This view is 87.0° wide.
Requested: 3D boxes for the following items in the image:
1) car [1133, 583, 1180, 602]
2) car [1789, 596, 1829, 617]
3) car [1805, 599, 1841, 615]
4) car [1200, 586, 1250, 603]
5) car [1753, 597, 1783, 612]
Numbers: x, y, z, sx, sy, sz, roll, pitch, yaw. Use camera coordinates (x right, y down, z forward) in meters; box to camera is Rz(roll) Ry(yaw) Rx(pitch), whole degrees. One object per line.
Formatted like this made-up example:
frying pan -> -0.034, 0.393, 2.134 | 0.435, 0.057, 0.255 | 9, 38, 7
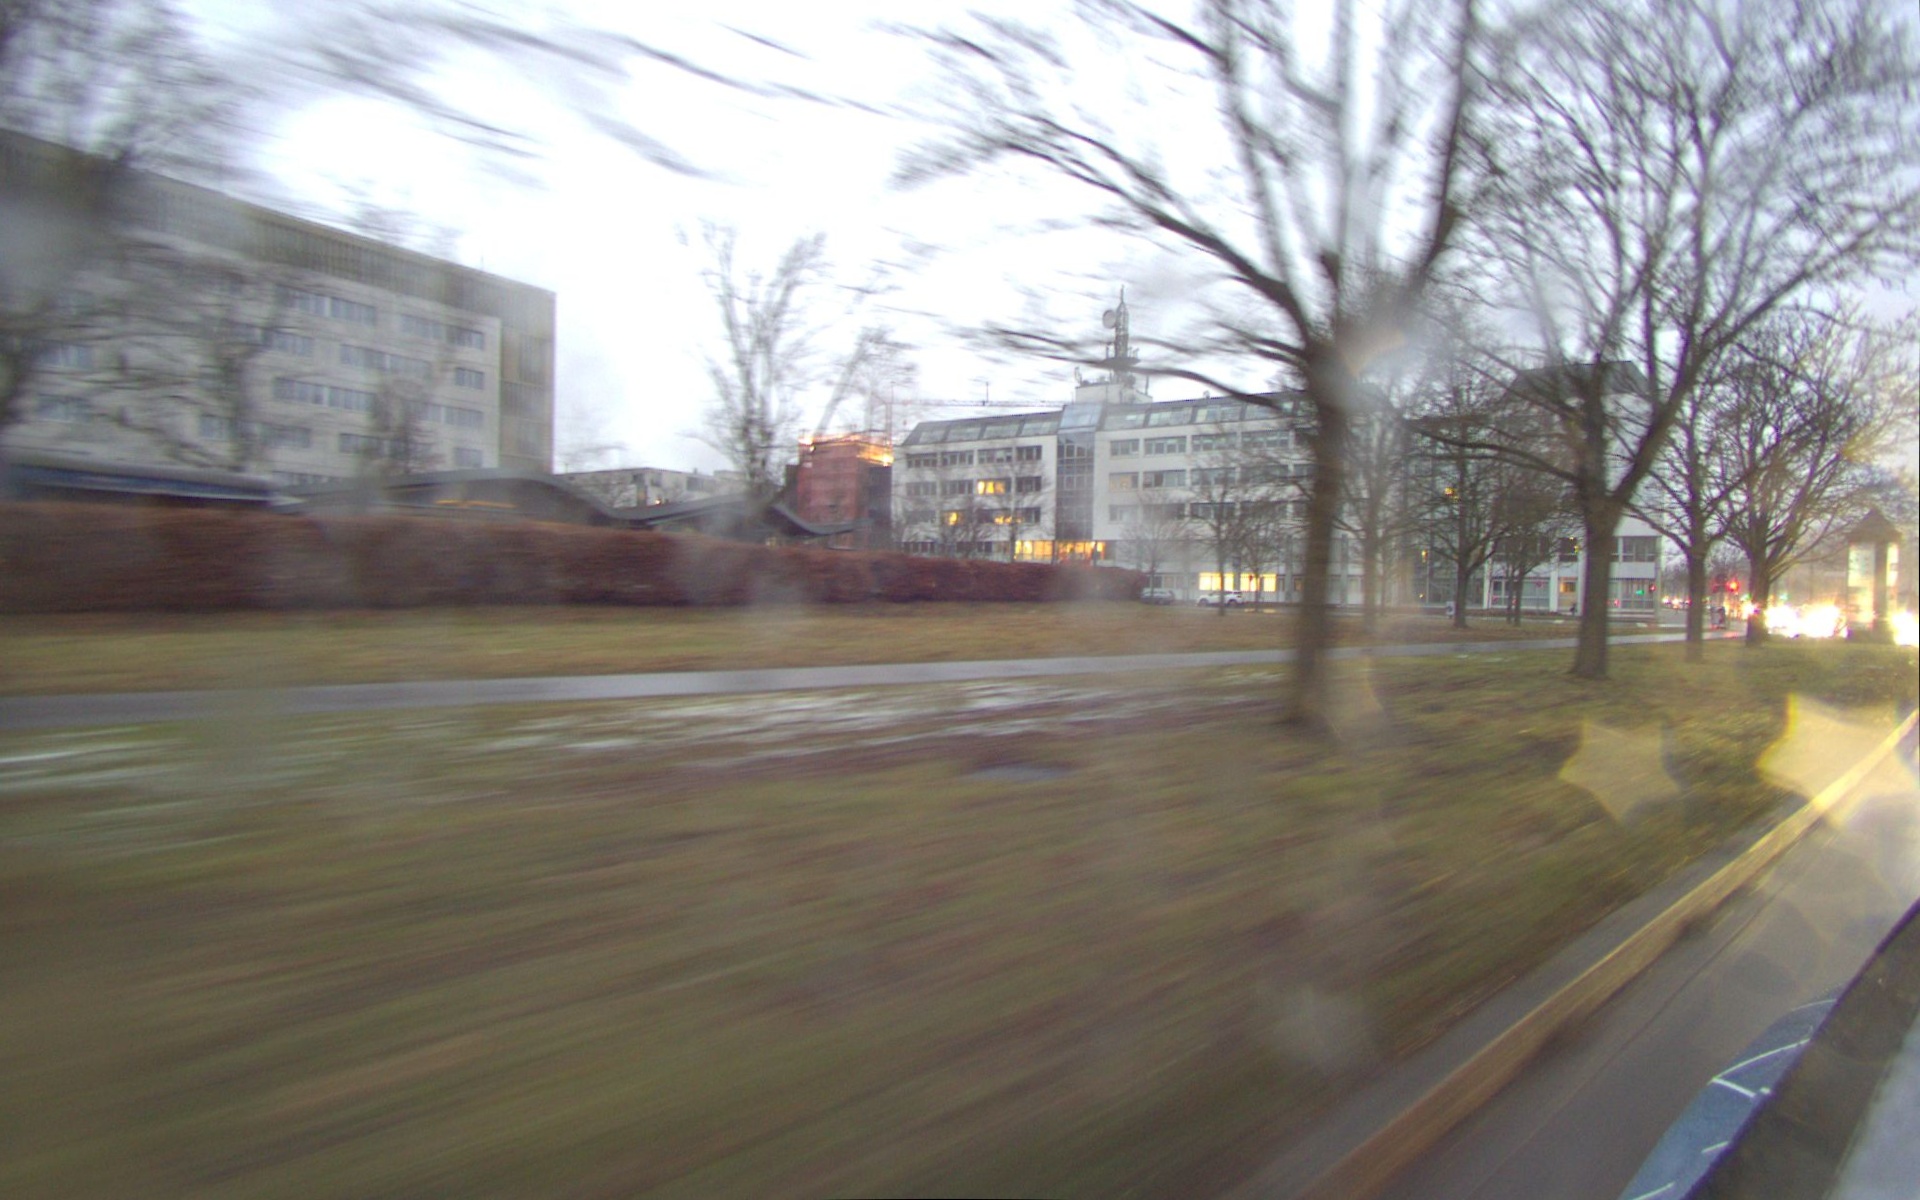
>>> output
car -> 19.050, -0.743, 98.145 | 4.115, 1.652, 1.978 | 2, 1, 31
car -> 68.230, 0.480, 81.384 | 1.937, 1.575, 4.167 | 2, 1, 33
car -> 78.876, 0.591, 92.496 | 1.986, 1.340, 3.952 | 2, 1, 34
car -> 24.331, -0.501, 92.968 | 4.132, 1.456, 1.883 | 2, 1, 31
car -> 81.129, 0.448, 101.665 | 1.986, 1.340, 3.952 | 2, 1, 34
